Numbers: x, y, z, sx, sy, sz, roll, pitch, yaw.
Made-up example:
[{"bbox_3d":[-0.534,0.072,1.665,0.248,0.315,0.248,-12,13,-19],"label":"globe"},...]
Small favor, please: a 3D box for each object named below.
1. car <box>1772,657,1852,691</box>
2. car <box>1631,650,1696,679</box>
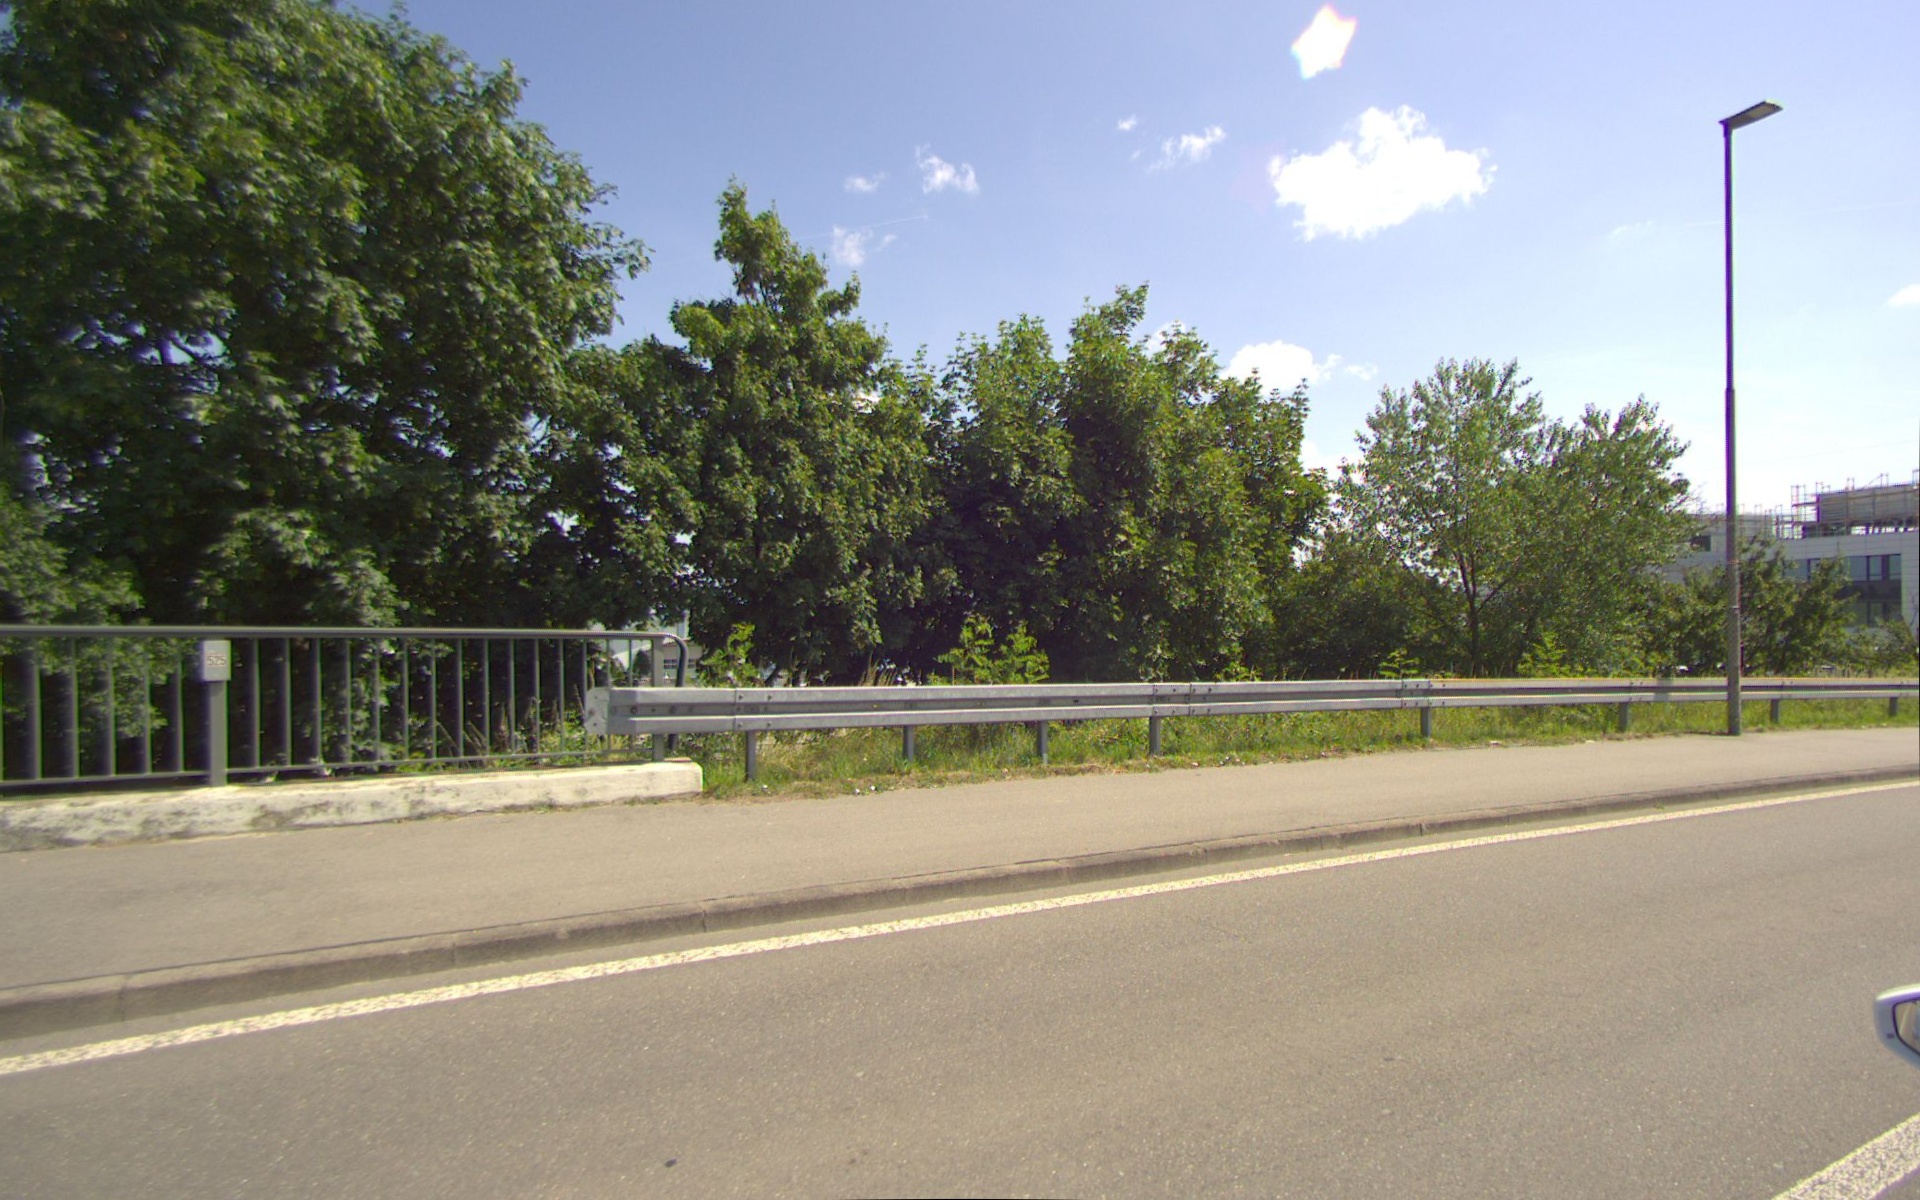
[{"bbox_3d":[60.915,5.233,71.872,1.938,2.041,3.965,-1,1,-32],"label":"car"},{"bbox_3d":[57.666,5.262,82.385,1.978,2.040,3.964,-1,0,-33],"label":"car"}]
